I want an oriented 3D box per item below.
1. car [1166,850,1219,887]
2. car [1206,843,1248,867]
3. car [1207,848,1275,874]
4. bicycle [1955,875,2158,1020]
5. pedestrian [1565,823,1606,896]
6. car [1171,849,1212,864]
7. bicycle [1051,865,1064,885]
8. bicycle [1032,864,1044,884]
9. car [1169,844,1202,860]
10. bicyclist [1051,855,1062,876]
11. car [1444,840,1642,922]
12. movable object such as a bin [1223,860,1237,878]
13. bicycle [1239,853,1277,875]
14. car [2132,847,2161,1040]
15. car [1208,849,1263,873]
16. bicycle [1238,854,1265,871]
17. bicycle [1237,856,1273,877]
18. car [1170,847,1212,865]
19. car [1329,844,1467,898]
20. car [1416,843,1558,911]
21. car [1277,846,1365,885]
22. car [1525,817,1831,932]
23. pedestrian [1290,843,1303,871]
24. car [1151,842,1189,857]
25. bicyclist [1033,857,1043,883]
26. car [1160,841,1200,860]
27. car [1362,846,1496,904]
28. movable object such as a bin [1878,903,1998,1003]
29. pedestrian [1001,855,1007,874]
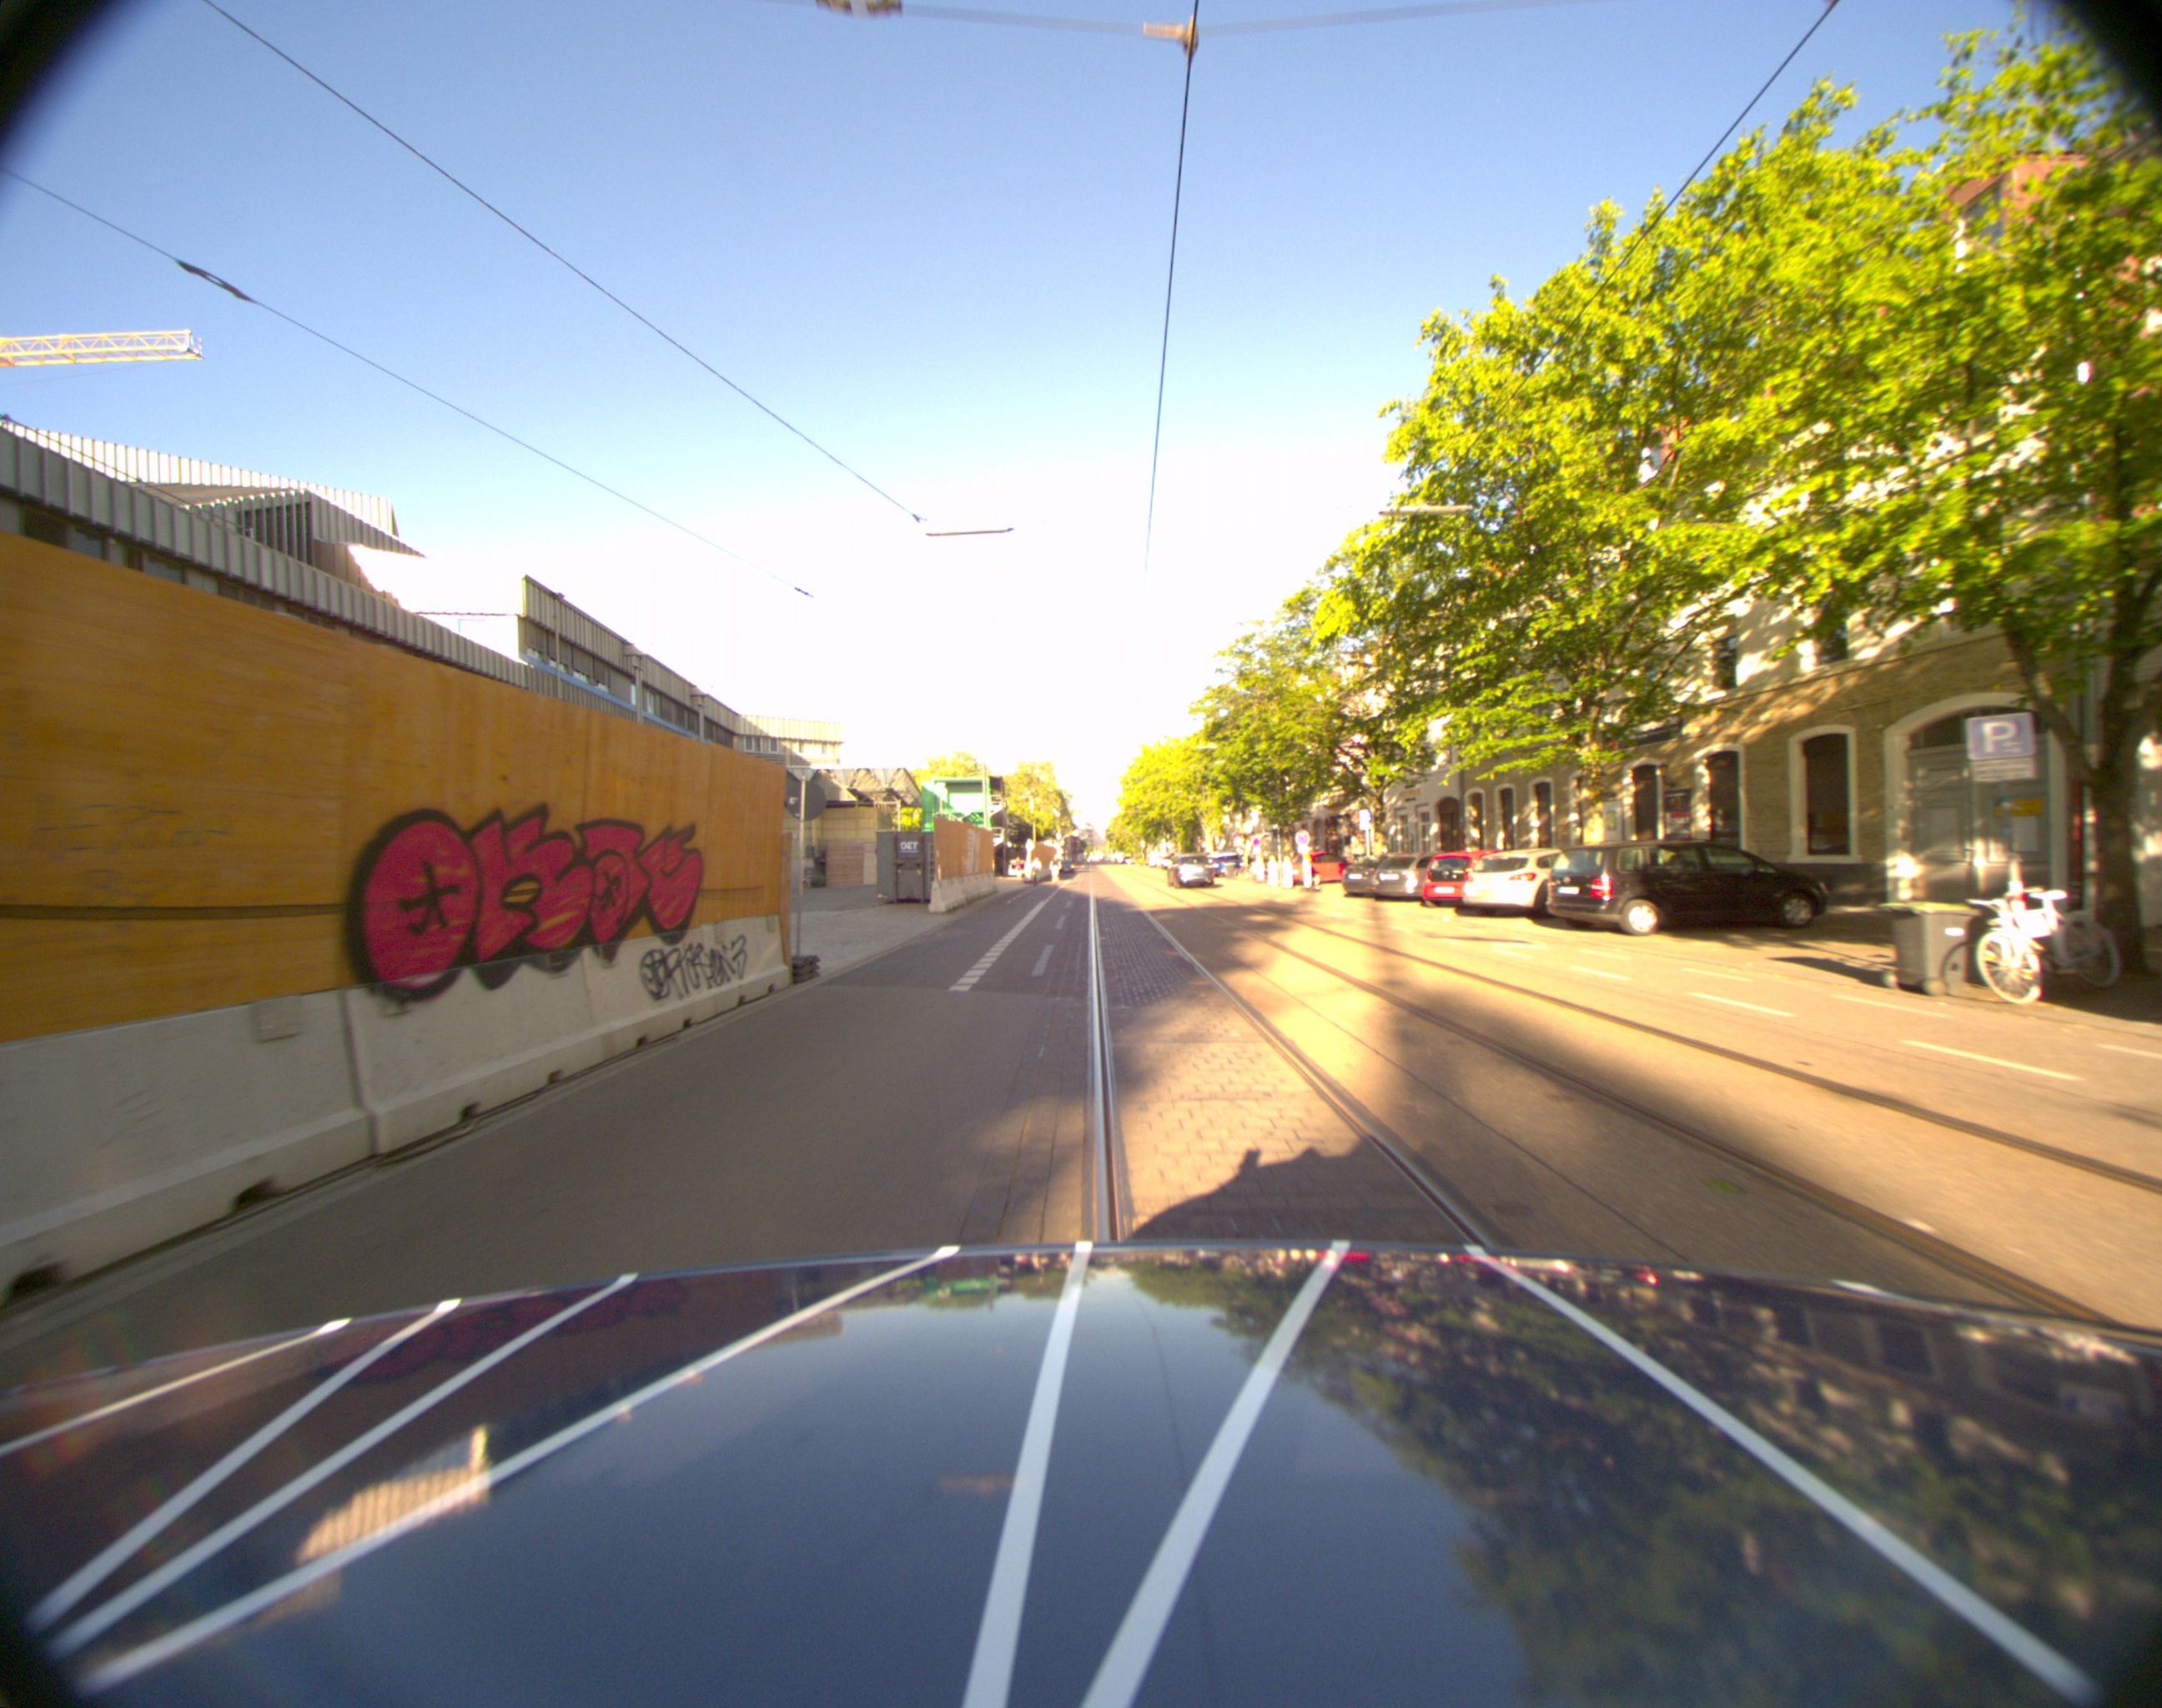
[{"bbox_3d":[5.280,0.665,36.498,1.932,1.620,4.249,-2,0,1],"label":"car"},{"bbox_3d":[11.995,0.072,62.299,1.728,1.832,3.453,-1,0,45],"label":"car"},{"bbox_3d":[12.321,0.558,58.500,4.948,1.784,2.204,-2,0,-32],"label":"car"},{"bbox_3d":[9.264,0.839,7.210,1.973,1.138,0.492,-4,1,-17],"label":"bicycle"},{"bbox_3d":[14.259,0.154,21.484,0.733,2.002,0.556,-2,1,2],"label":"pedestrian"},{"bbox_3d":[12.124,0.251,83.473,4.174,1.543,1.700,-2,0,-15],"label":"car"},{"bbox_3d":[-1.390,1.234,45.332,0.669,1.148,2.276,-3,0,-1],"label":"bicycle"},{"bbox_3d":[-2.577,1.193,45.618,0.558,1.120,2.276,-2,0,1],"label":"bicycle"},{"bbox_3d":[11.914,-0.219,86.615,3.376,1.544,1.383,-6,1,-14],"label":"car"},{"bbox_3d":[-1.470,0.666,45.201,0.653,1.230,0.353,-1,1,-1],"label":"bicyclist"},{"bbox_3d":[10.577,0.567,17.382,4.122,1.503,1.837,-4,0,-25],"label":"car"},{"bbox_3d":[9.383,0.917,48.010,0.685,1.071,0.710,-5,0,2],"label":"movable object such as a bin"},{"bbox_3d":[10.338,0.568,44.462,2.007,1.081,0.567,-6,0,3],"label":"bicycle"},{"bbox_3d":[10.429,0.573,5.821,3.871,1.468,1.840,-4,1,-21],"label":"car"},{"bbox_3d":[11.049,0.474,54.263,3.909,1.599,1.569,-2,0,-35],"label":"car"},{"bbox_3d":[10.653,0.534,47.528,1.605,0.982,0.388,-3,0,-9],"label":"bicycle"},{"bbox_3d":[10.461,0.740,45.789,1.972,1.073,0.568,-4,0,3],"label":"bicycle"},{"bbox_3d":[11.642,0.203,80.583,4.003,1.667,1.700,-3,0,-19],"label":"car"},{"bbox_3d":[10.748,0.550,25.730,4.207,1.482,1.940,-4,0,-26],"label":"car"},{"bbox_3d":[10.790,0.584,20.192,3.377,1.484,1.610,-4,0,-27],"label":"car"},{"bbox_3d":[11.158,0.533,35.301,3.629,1.544,1.666,-4,-1,-25],"label":"car"},{"bbox_3d":[10.756,0.348,13.914,4.115,1.668,1.841,-4,0,-1],"label":"car"},{"bbox_3d":[14.265,0.197,50.246,0.645,1.827,0.624,-1,1,2],"label":"pedestrian"},{"bbox_3d":[12.690,-0.652,108.704,4.942,2.002,2.072,-2,0,-13],"label":"car"},{"bbox_3d":[-2.599,0.959,46.074,0.557,1.603,0.576,-1,1,-1],"label":"bicyclist"},{"bbox_3d":[11.930,-0.399,92.105,4.448,2.105,2.163,-2,0,-1],"label":"car"},{"bbox_3d":[10.616,0.604,23.148,3.688,1.462,1.749,-4,1,-28],"label":"car"},{"bbox_3d":[8.724,0.991,7.750,0.577,0.908,0.575,-4,0,-15],"label":"movable object such as a bin"},{"bbox_3d":[-6.980,0.961,68.757,0.449,1.748,0.377,-2,1,-19],"label":"pedestrian"}]
